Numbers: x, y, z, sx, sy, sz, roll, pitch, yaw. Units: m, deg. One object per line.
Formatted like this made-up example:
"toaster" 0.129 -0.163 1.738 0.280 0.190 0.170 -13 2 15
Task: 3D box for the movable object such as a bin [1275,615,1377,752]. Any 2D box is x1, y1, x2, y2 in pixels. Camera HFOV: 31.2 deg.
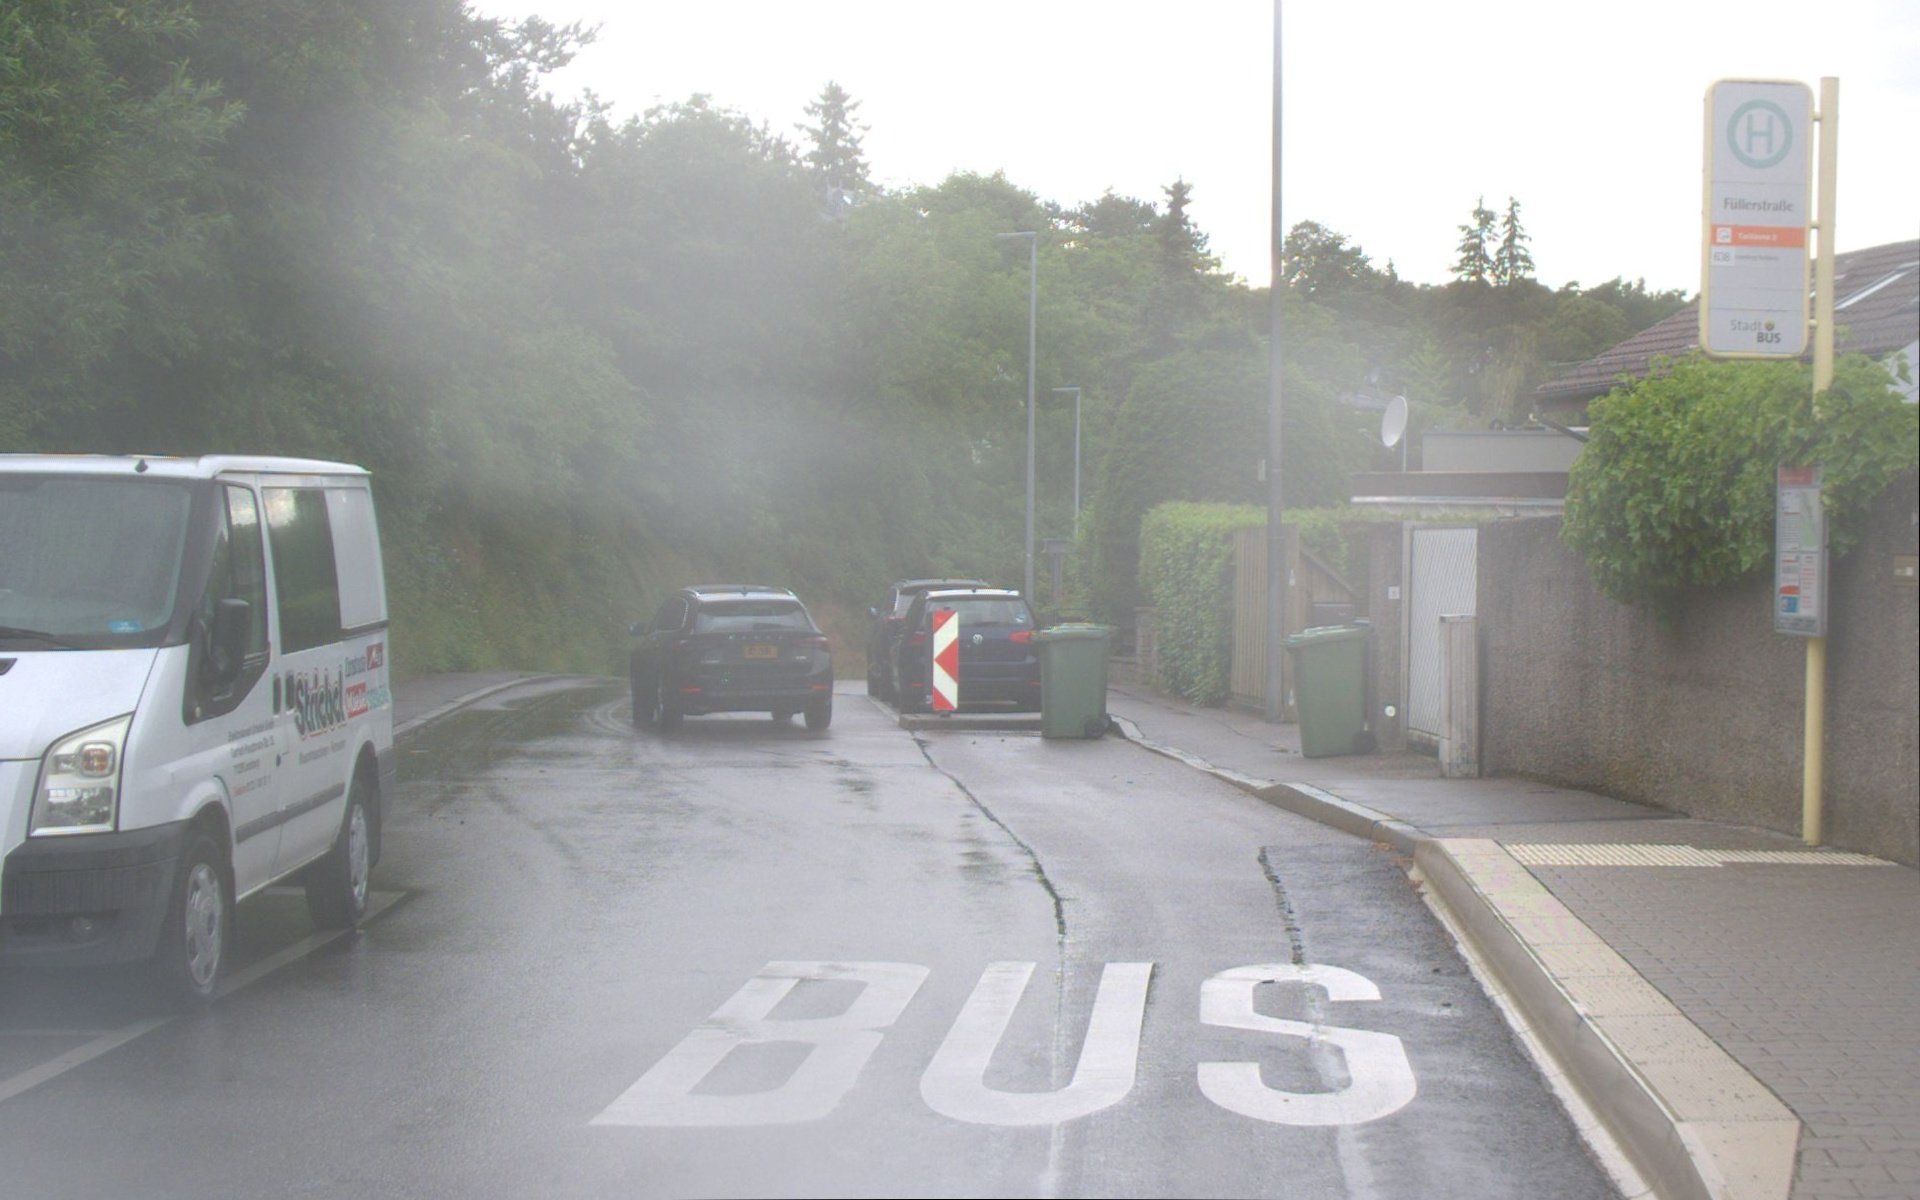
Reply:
"movable object such as a bin" 3.023 0.686 28.433 0.739 1.085 0.600 -2 1 0

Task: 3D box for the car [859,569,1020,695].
"car" -0.323 0.383 45.873 1.875 1.586 4.480 0 1 -4

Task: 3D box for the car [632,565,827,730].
"car" -2.428 0.548 36.057 1.868 1.507 4.092 2 -3 -4

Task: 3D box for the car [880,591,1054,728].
"car" 0.029 0.661 40.594 1.755 1.457 4.301 1 1 -4

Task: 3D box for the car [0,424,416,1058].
"car" -3.557 0.407 13.251 2.111 1.968 5.173 0 1 0

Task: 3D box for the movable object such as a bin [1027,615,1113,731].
"movable object such as a bin" 1.050 0.696 32.986 0.715 1.092 0.656 1 1 -8

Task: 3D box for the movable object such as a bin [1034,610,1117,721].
"movable object such as a bin" 1.145 0.648 34.140 0.729 1.075 0.661 1 1 -5
